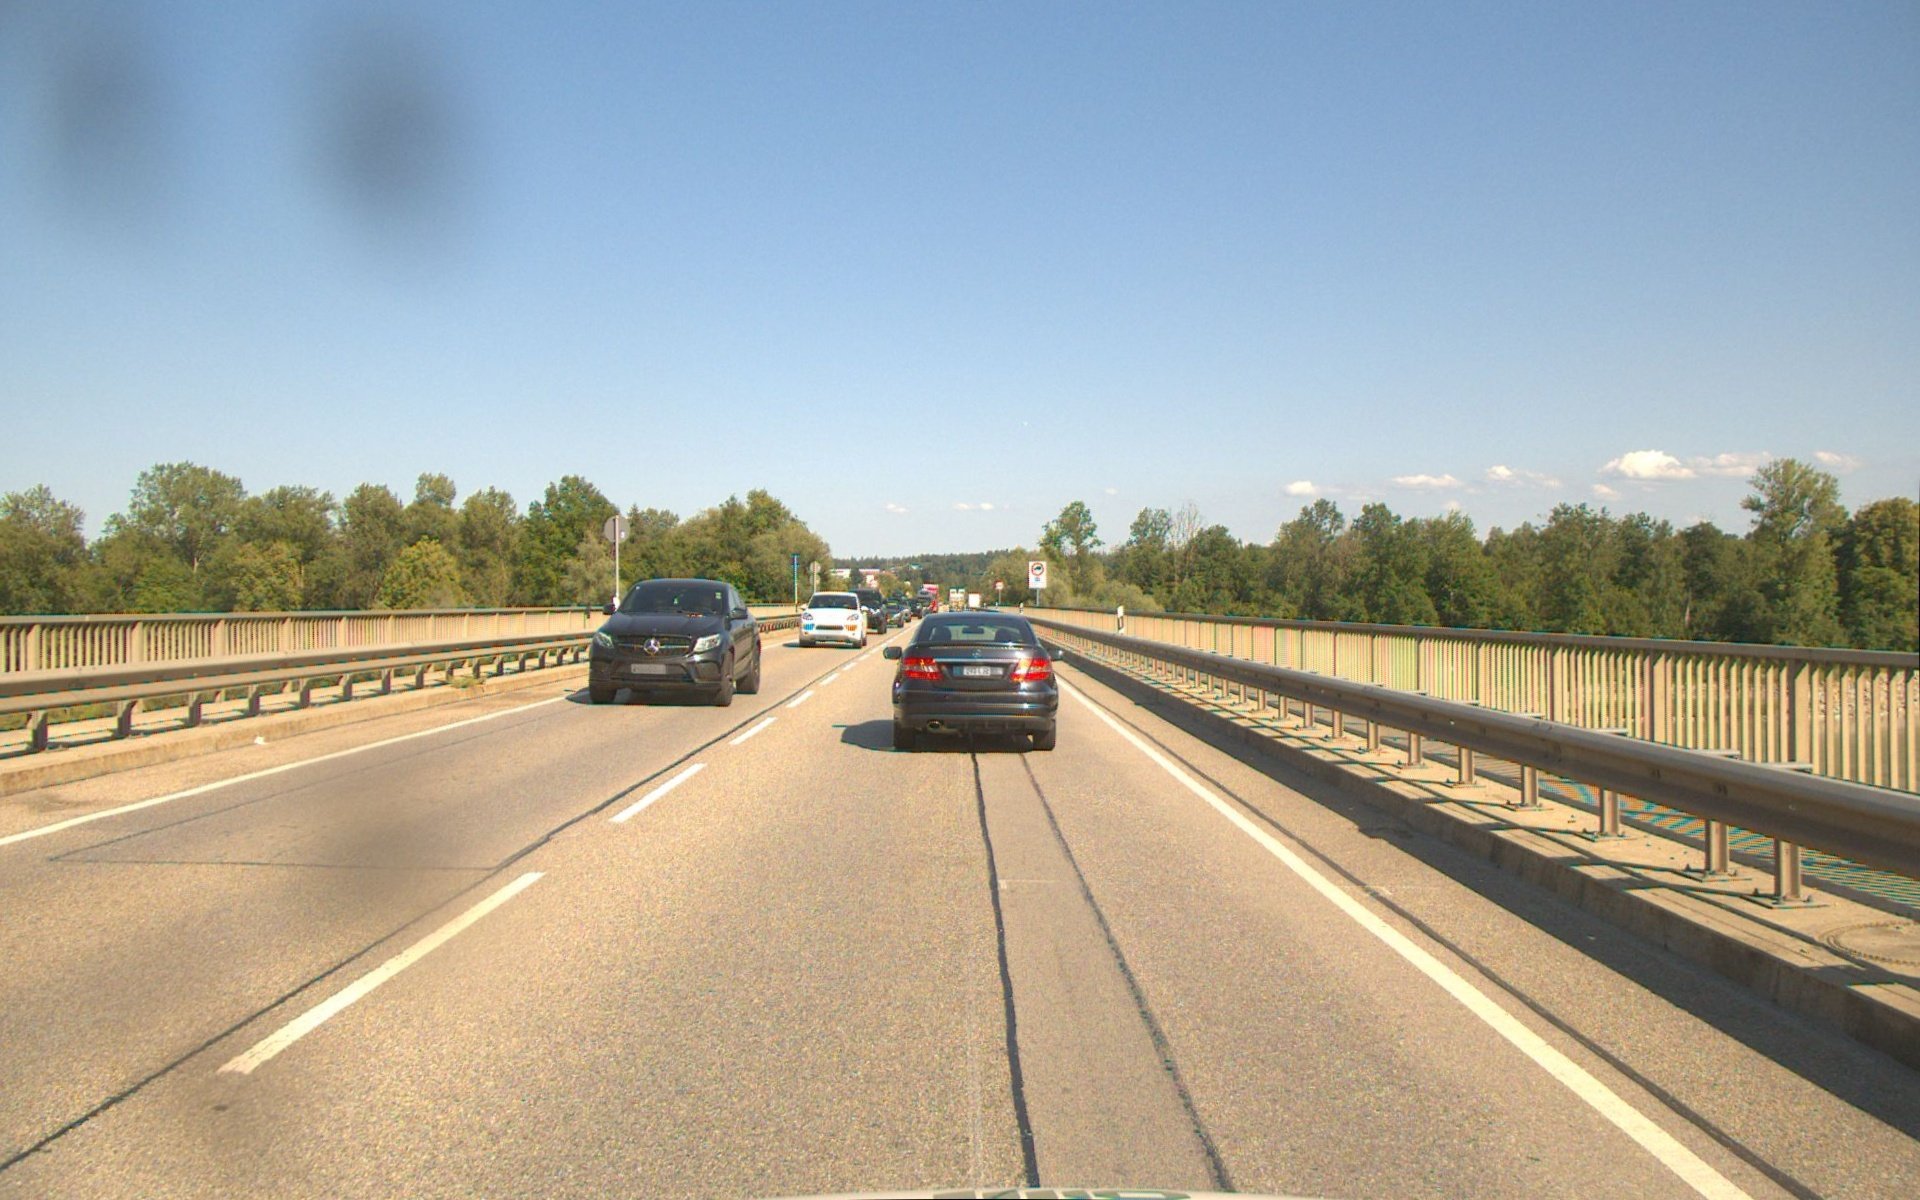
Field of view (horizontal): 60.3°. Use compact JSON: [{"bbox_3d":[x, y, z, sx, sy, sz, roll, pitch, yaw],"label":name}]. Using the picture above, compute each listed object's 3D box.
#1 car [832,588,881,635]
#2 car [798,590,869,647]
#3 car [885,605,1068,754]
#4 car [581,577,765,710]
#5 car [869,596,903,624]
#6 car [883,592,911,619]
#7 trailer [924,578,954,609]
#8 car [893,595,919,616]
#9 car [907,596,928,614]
[{"bbox_3d":[-4.504,0.456,72.169,1.997,1.906,5.066,2,0,-3],"label":"car"},{"bbox_3d":[-3.880,0.540,51.344,1.943,1.680,4.596,1,0,-2],"label":"car"},{"bbox_3d":[0.157,0.777,17.948,1.756,1.400,4.000,1,0,0],"label":"car"},{"bbox_3d":[-4.027,0.565,23.929,1.909,1.723,4.476,1,0,-1],"label":"car"},{"bbox_3d":[-4.037,0.535,89.739,1.730,1.472,4.453,1,0,-4],"label":"car"},{"bbox_3d":[-4.336,0.365,113.907,1.817,1.752,4.564,1,0,-1],"label":"car"},{"bbox_3d":[-3.082,-0.894,241.495,2.852,4.377,14.281,1,0,-7],"label":"trailer"},{"bbox_3d":[-4.523,0.434,138.319,2.013,1.681,4.718,2,0,-4],"label":"car"},{"bbox_3d":[-3.987,0.482,155.381,1.770,1.605,4.198,1,0,-4],"label":"car"}]
